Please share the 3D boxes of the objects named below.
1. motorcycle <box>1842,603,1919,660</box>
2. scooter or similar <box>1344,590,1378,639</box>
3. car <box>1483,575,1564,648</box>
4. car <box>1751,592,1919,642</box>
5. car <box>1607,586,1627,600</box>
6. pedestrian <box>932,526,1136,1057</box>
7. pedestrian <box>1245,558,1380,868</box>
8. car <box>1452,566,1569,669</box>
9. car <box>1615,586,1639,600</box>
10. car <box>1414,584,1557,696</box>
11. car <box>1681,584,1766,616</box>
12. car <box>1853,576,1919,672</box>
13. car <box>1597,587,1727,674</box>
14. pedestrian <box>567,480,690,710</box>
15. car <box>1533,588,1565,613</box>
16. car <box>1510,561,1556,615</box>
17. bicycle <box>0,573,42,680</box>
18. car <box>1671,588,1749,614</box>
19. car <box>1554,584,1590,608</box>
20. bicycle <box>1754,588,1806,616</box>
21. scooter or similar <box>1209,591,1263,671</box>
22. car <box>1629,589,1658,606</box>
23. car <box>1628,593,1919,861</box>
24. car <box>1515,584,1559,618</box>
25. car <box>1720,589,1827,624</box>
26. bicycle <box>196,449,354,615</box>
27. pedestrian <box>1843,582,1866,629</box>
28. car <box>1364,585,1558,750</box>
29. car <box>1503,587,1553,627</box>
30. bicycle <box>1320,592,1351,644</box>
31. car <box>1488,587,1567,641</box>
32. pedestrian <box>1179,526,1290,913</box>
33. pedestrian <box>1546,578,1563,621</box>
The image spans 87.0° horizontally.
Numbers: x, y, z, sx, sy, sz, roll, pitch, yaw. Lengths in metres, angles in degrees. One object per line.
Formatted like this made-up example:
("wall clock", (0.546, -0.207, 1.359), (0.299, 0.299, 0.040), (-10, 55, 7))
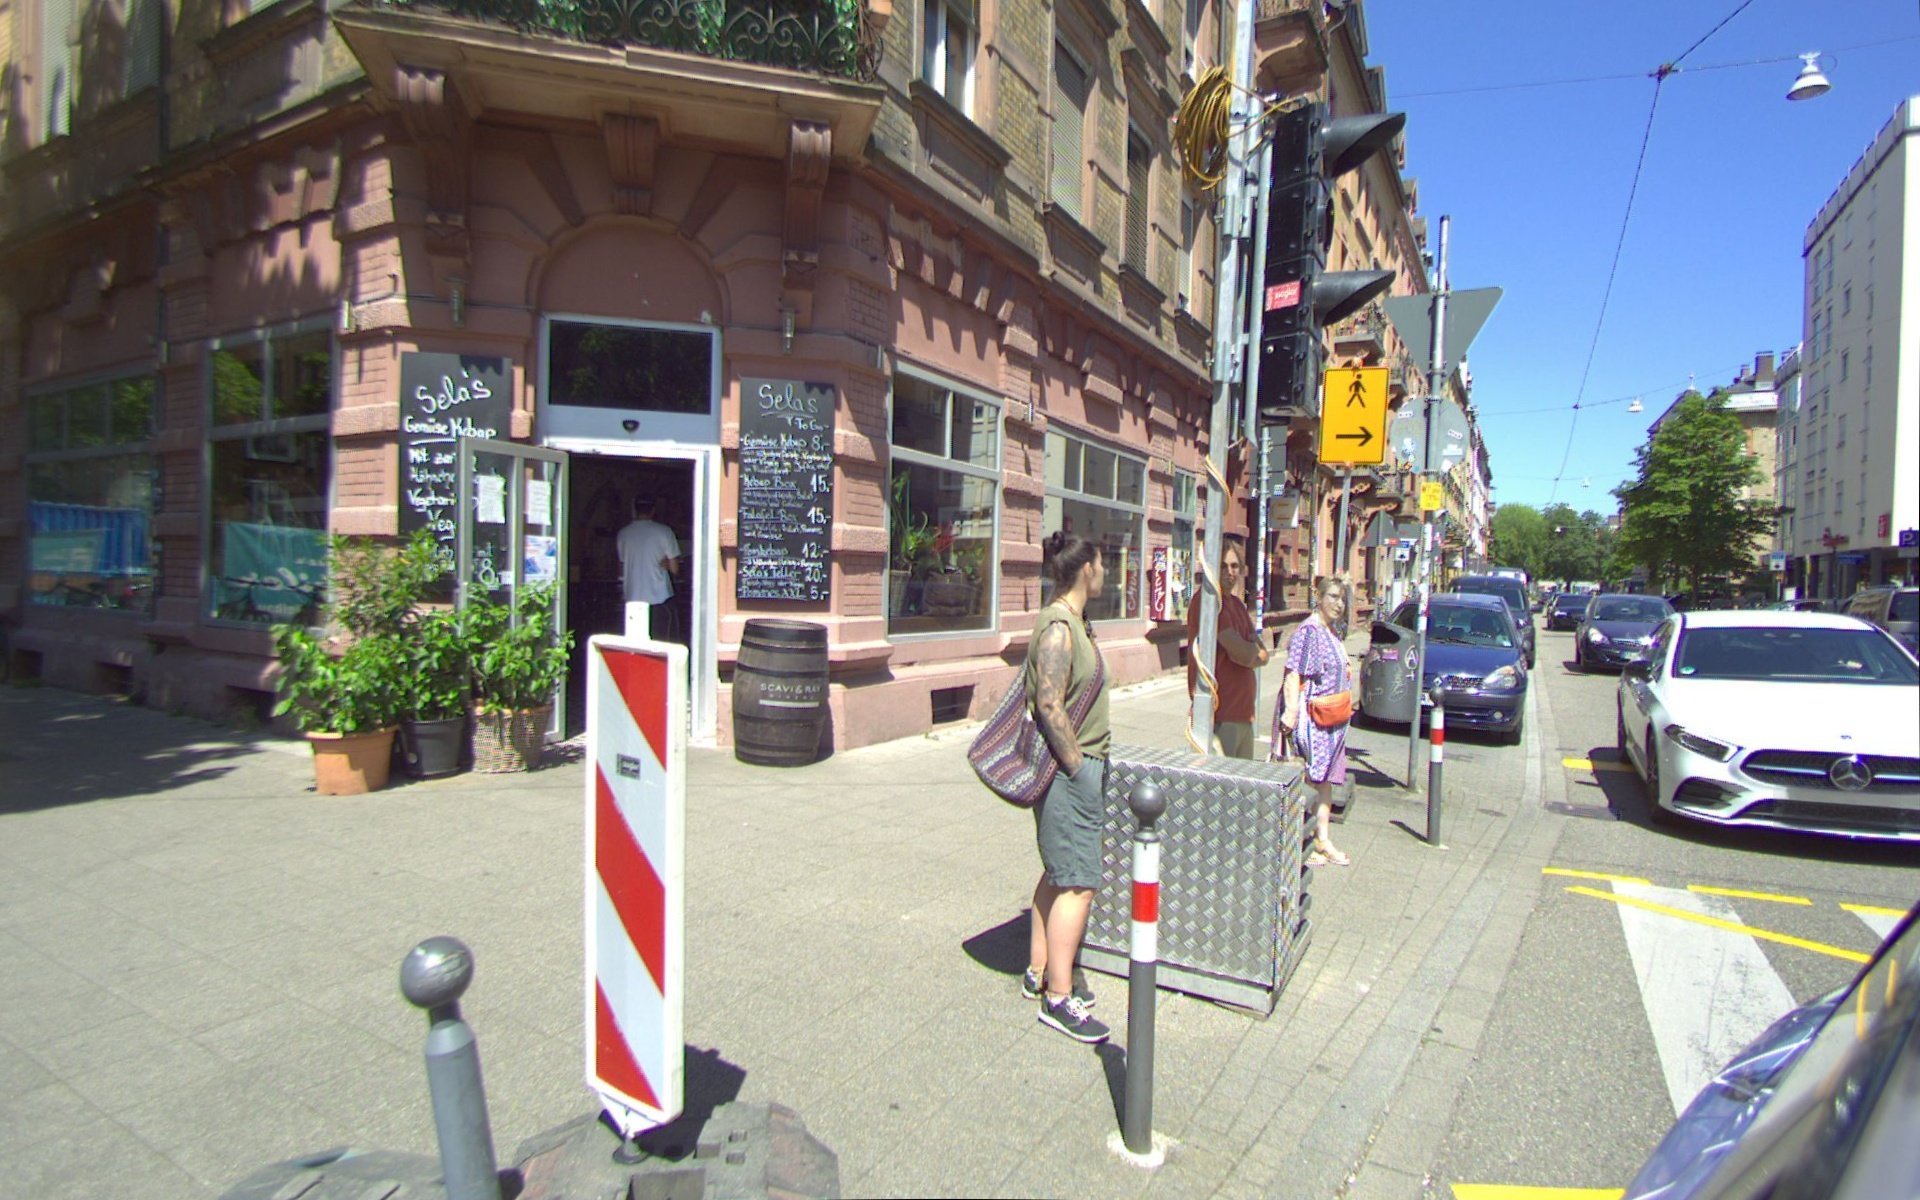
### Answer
("motorcycle", (22.500, 0.745, 24.620), (0.385, 1.300, 1.559), (-1, 1, -27))
("scooter or similar", (10.124, 0.333, 25.517), (0.474, 1.167, 2.126), (1, 1, 30))
("car", (14.738, 0.241, 26.417), (1.693, 1.755, 3.957), (1, 1, 30))
("car", (28.978, 0.518, 33.632), (3.848, 1.443, 1.801), (2, 1, 23))
("car", (84.589, -0.924, 130.317), (1.983, 1.705, 3.957), (0, 1, 31))
("pedestrian", (0.247, 0.562, 3.333), (0.458, 1.579, 0.472), (2, 1, 37))
("pedestrian", (1.901, 0.570, 5.461), (0.492, 1.561, 0.430), (5, 3, 37))
("car", (11.221, 0.269, 20.676), (1.815, 1.788, 4.294), (3, 2, 29))
("car", (73.148, -0.762, 111.054), (1.983, 1.533, 3.957), (0, 1, 31))
("car", (8.356, 0.503, 16.063), (1.716, 1.449, 4.440), (3, 2, 29))
("car", (46.021, -0.028, 61.110), (3.857, 1.769, 1.634), (2, 1, 31))
("car", (20.554, 0.460, 21.243), (1.780, 1.852, 4.847), (1, 1, 30))
("car", (13.534, 0.497, 19.701), (1.767, 1.487, 3.957), (0, 1, 30))
("pedestrian", (-2.747, -0.046, 8.430), (0.922, 1.841, 0.458), (1, 4, -16))
("car", (39.407, 0.001, 67.757), (1.667, 1.556, 3.962), (1, 1, 28))
("car", (30.835, -0.662, 54.420), (2.052, 2.736, 4.985), (0, 1, 30))
("bicycle", (-10.081, 0.238, 10.409), (1.684, 1.020, 0.516), (2, 1, 32))
("car", (48.744, 0.026, 65.833), (3.857, 1.514, 1.634), (2, 1, 31))
("car", (37.337, -0.261, 61.804), (1.734, 1.407, 3.959), (2, 2, 29))
("bicycle", (33.369, 0.080, 41.210), (1.601, 1.104, 0.366), (0, 0, 37))
("scooter or similar", (4.292, 0.459, 15.692), (0.292, 1.192, 1.253), (2, 1, 40))
("car", (63.911, -0.235, 94.702), (1.983, 1.533, 3.957), (0, 1, 31))
("car", (6.220, 0.705, 7.550), (1.801, 1.443, 4.196), (2, 1, 30))
("car", (28.072, 0.028, 49.328), (1.667, 1.556, 3.962), (1, 1, 28))
("car", (40.055, 0.311, 49.963), (3.857, 1.548, 1.634), (2, 1, 31))
("bicycle", (-5.254, -0.503, 7.737), (1.417, 1.166, 0.504), (2, 1, 34))
("pedestrian", (41.221, 0.264, 46.650), (0.485, 2.152, 0.611), (1, 1, -23))
("car", (5.685, 0.600, 11.342), (1.619, 1.449, 3.622), (3, 2, 30))
("car", (22.462, 0.226, 40.112), (1.588, 1.480, 3.655), (1, 1, 28))
("bicycle", (8.457, 0.385, 22.772), (0.352, 1.117, 1.737), (2, 1, 30))
("car", (17.153, 0.373, 30.736), (1.748, 1.467, 3.873), (1, 1, 25))
("pedestrian", (1.271, 0.516, 4.676), (0.331, 1.696, 0.396), (2, 1, 37))
("pedestrian", (27.375, -0.023, 46.605), (0.630, 1.938, 0.366), (2, 1, 31))
